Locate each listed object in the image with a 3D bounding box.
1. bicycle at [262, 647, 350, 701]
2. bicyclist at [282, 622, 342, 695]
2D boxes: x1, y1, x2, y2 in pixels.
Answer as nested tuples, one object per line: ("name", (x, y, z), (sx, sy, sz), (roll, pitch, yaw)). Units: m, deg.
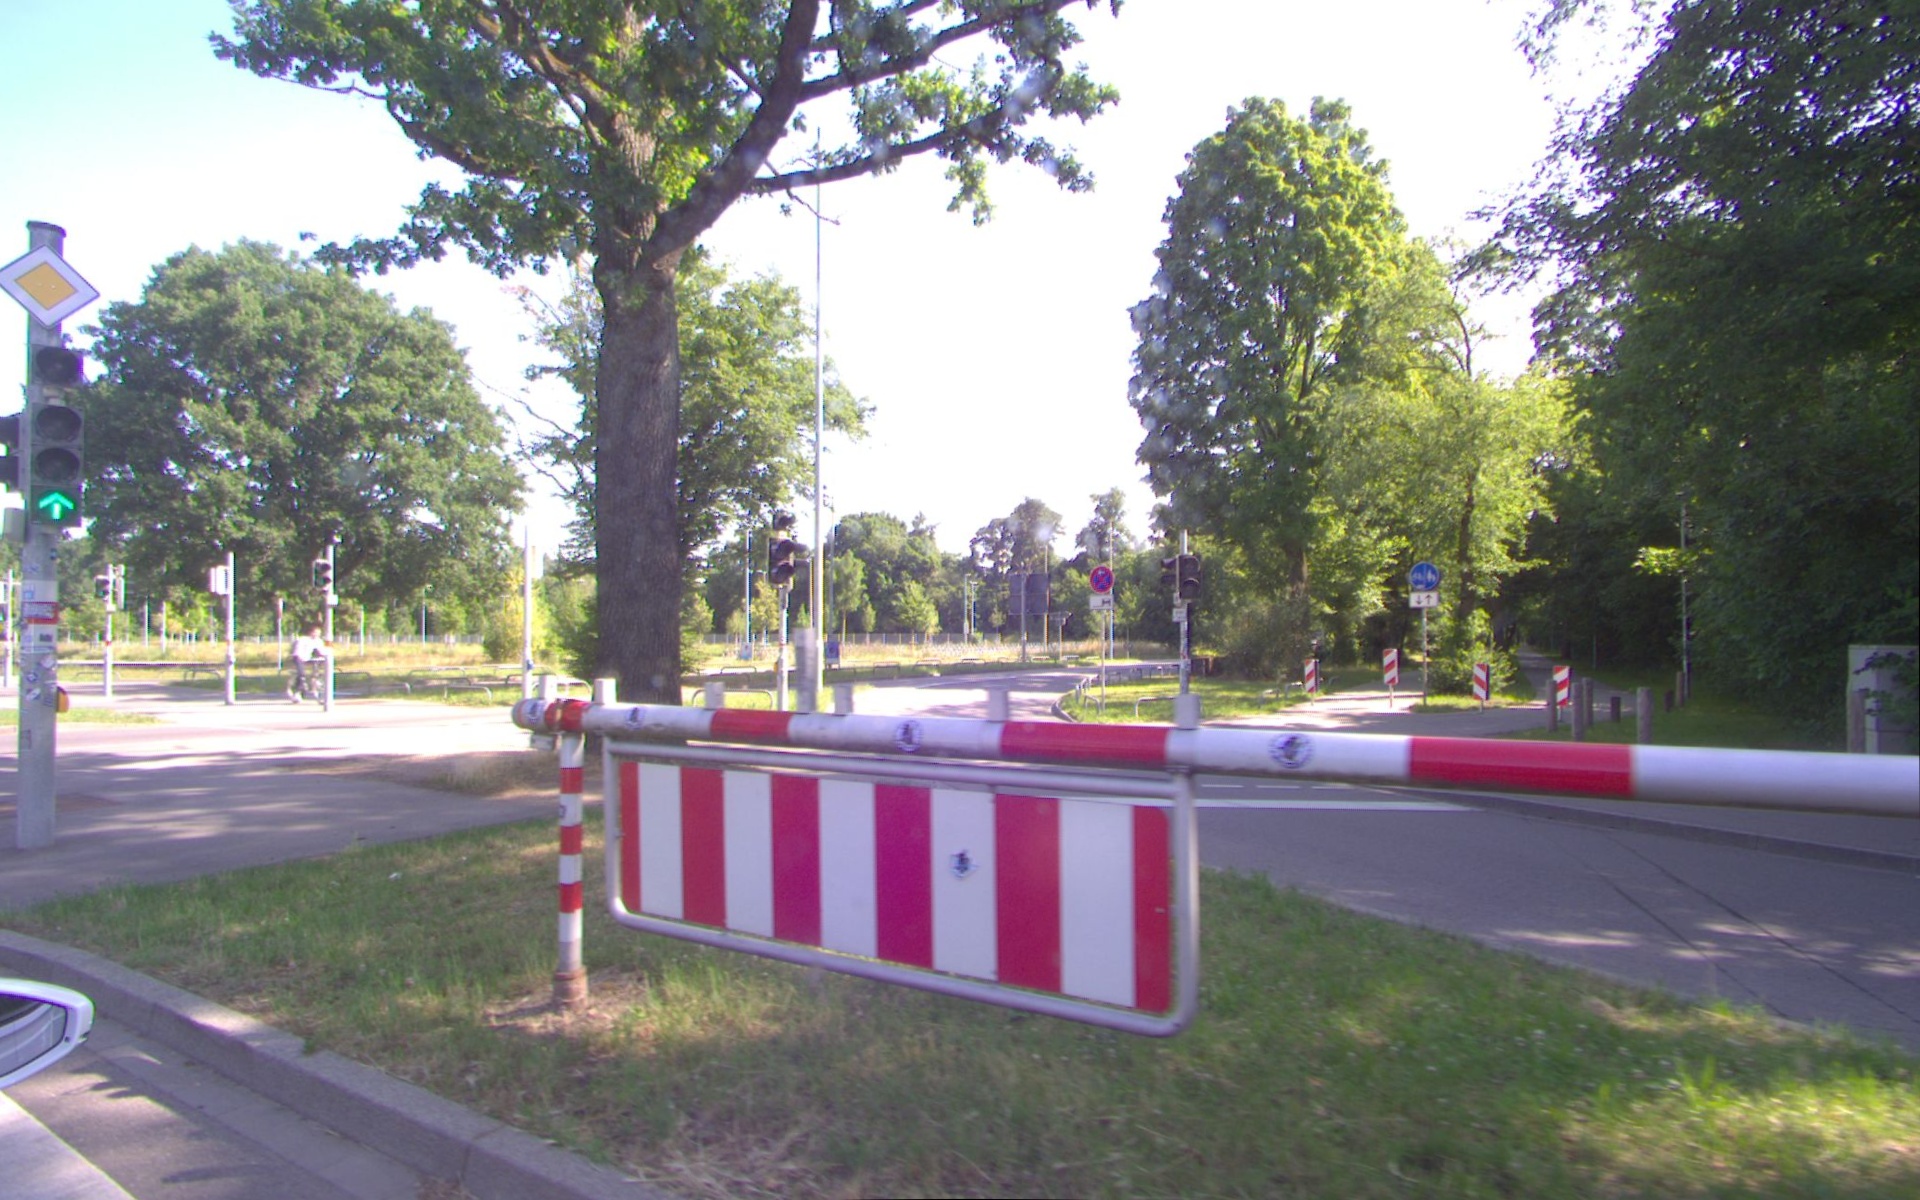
("bicycle", (-15.361, 1.722, 23.516), (2.066, 1.215, 0.724), (-1, -2, 25))
("bicyclist", (-15.163, 1.358, 23.443), (1.040, 1.660, 0.724), (0, -1, 25))
